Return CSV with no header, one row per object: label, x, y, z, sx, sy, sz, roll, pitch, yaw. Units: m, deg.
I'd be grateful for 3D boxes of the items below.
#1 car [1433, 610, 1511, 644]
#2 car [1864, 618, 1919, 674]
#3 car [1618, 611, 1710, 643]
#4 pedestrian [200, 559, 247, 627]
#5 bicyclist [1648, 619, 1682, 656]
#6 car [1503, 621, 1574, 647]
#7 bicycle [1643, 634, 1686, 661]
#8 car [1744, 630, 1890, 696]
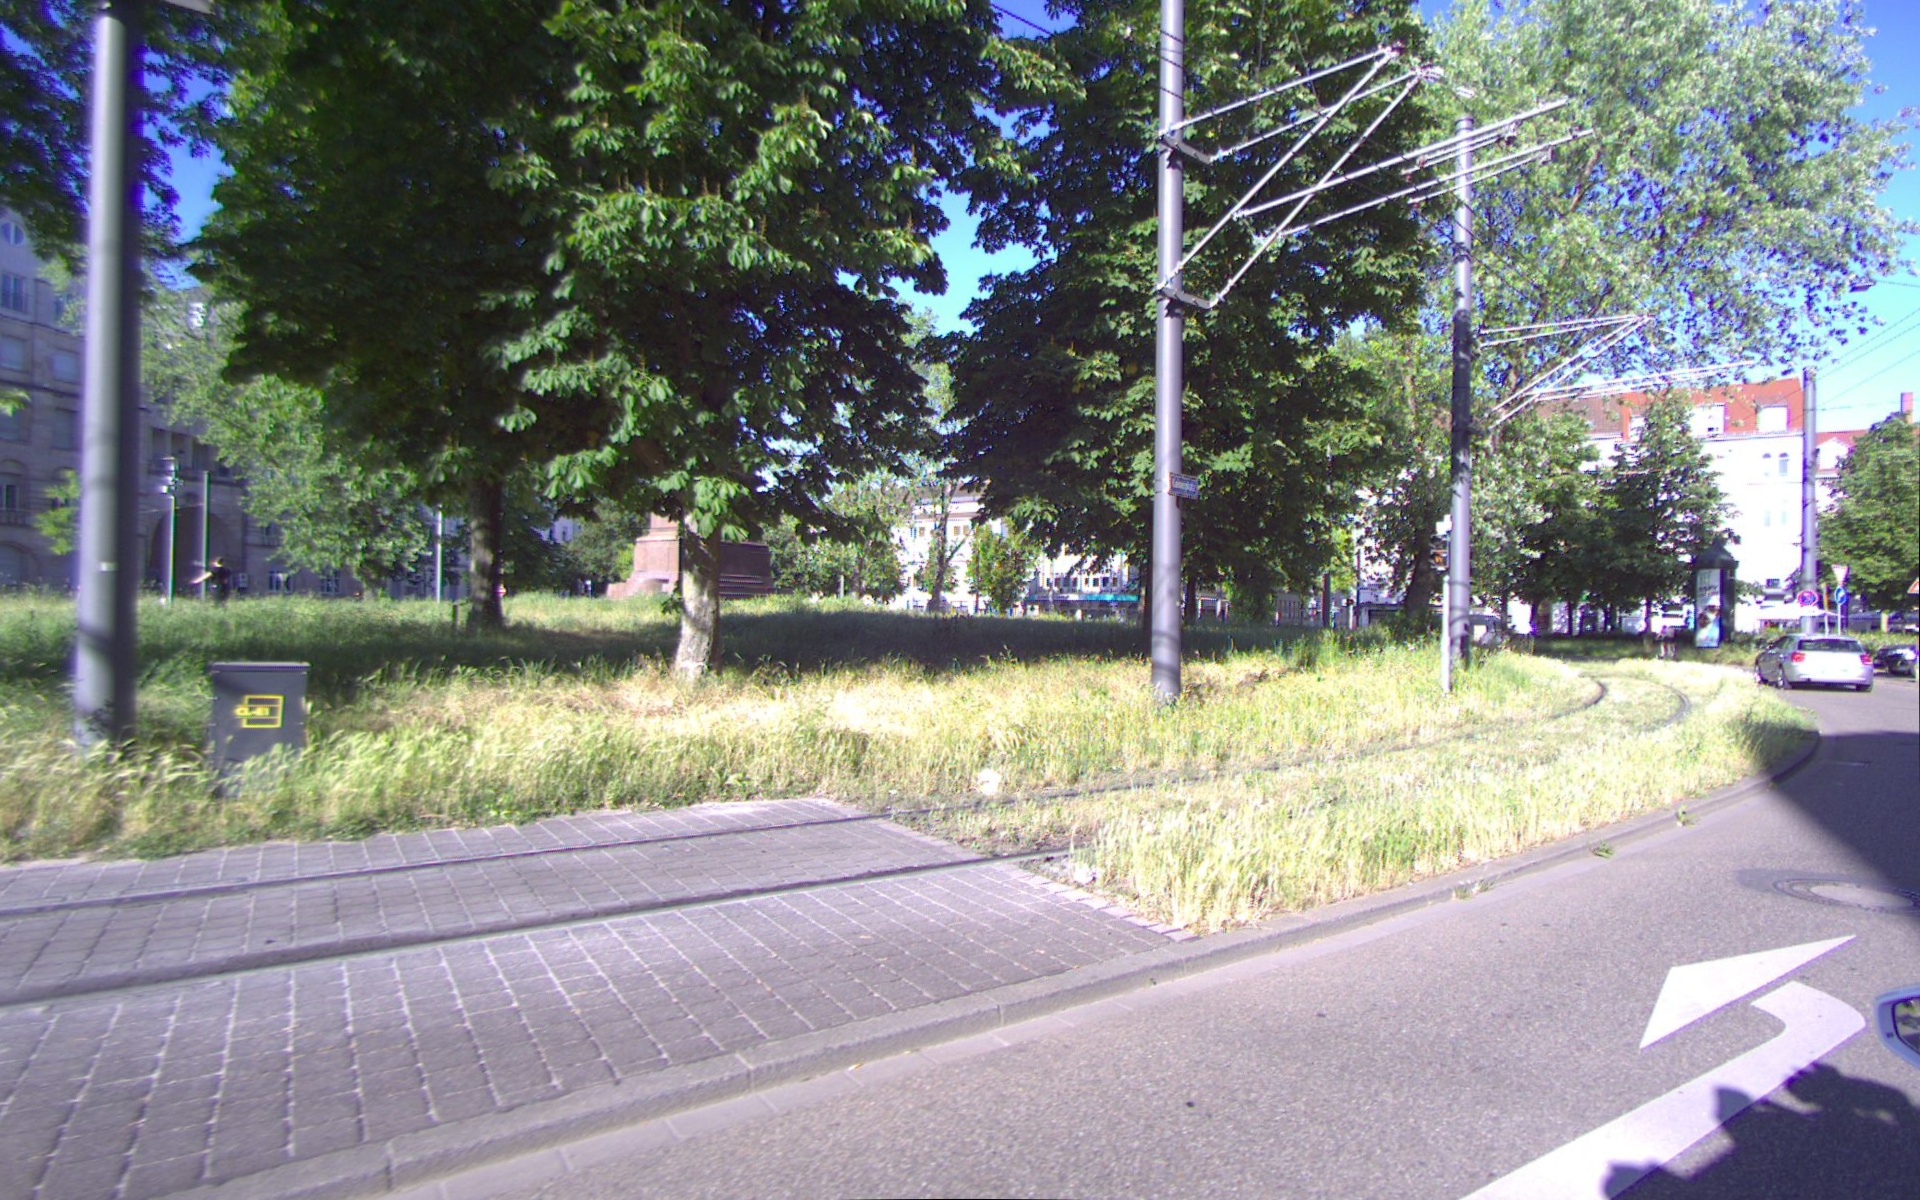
car,40.401,2.133,79.300,5.263,2.344,1.995,3,0,34
car,31.062,1.494,31.372,3.796,1.704,1.811,1,-1,23
car,53.550,2.049,76.533,5.494,2.040,1.814,3,0,31
pedestrian,-18.144,-0.166,24.763,0.661,1.637,0.555,3,0,4
bicyclist,30.452,1.608,43.402,0.913,1.527,0.825,3,0,20
car,46.798,2.743,81.279,4.791,1.828,1.903,3,0,35
bicycle,30.453,2.032,43.465,0.796,1.083,2.583,3,0,19
car,22.076,1.573,26.065,1.963,1.442,4.191,3,0,28
